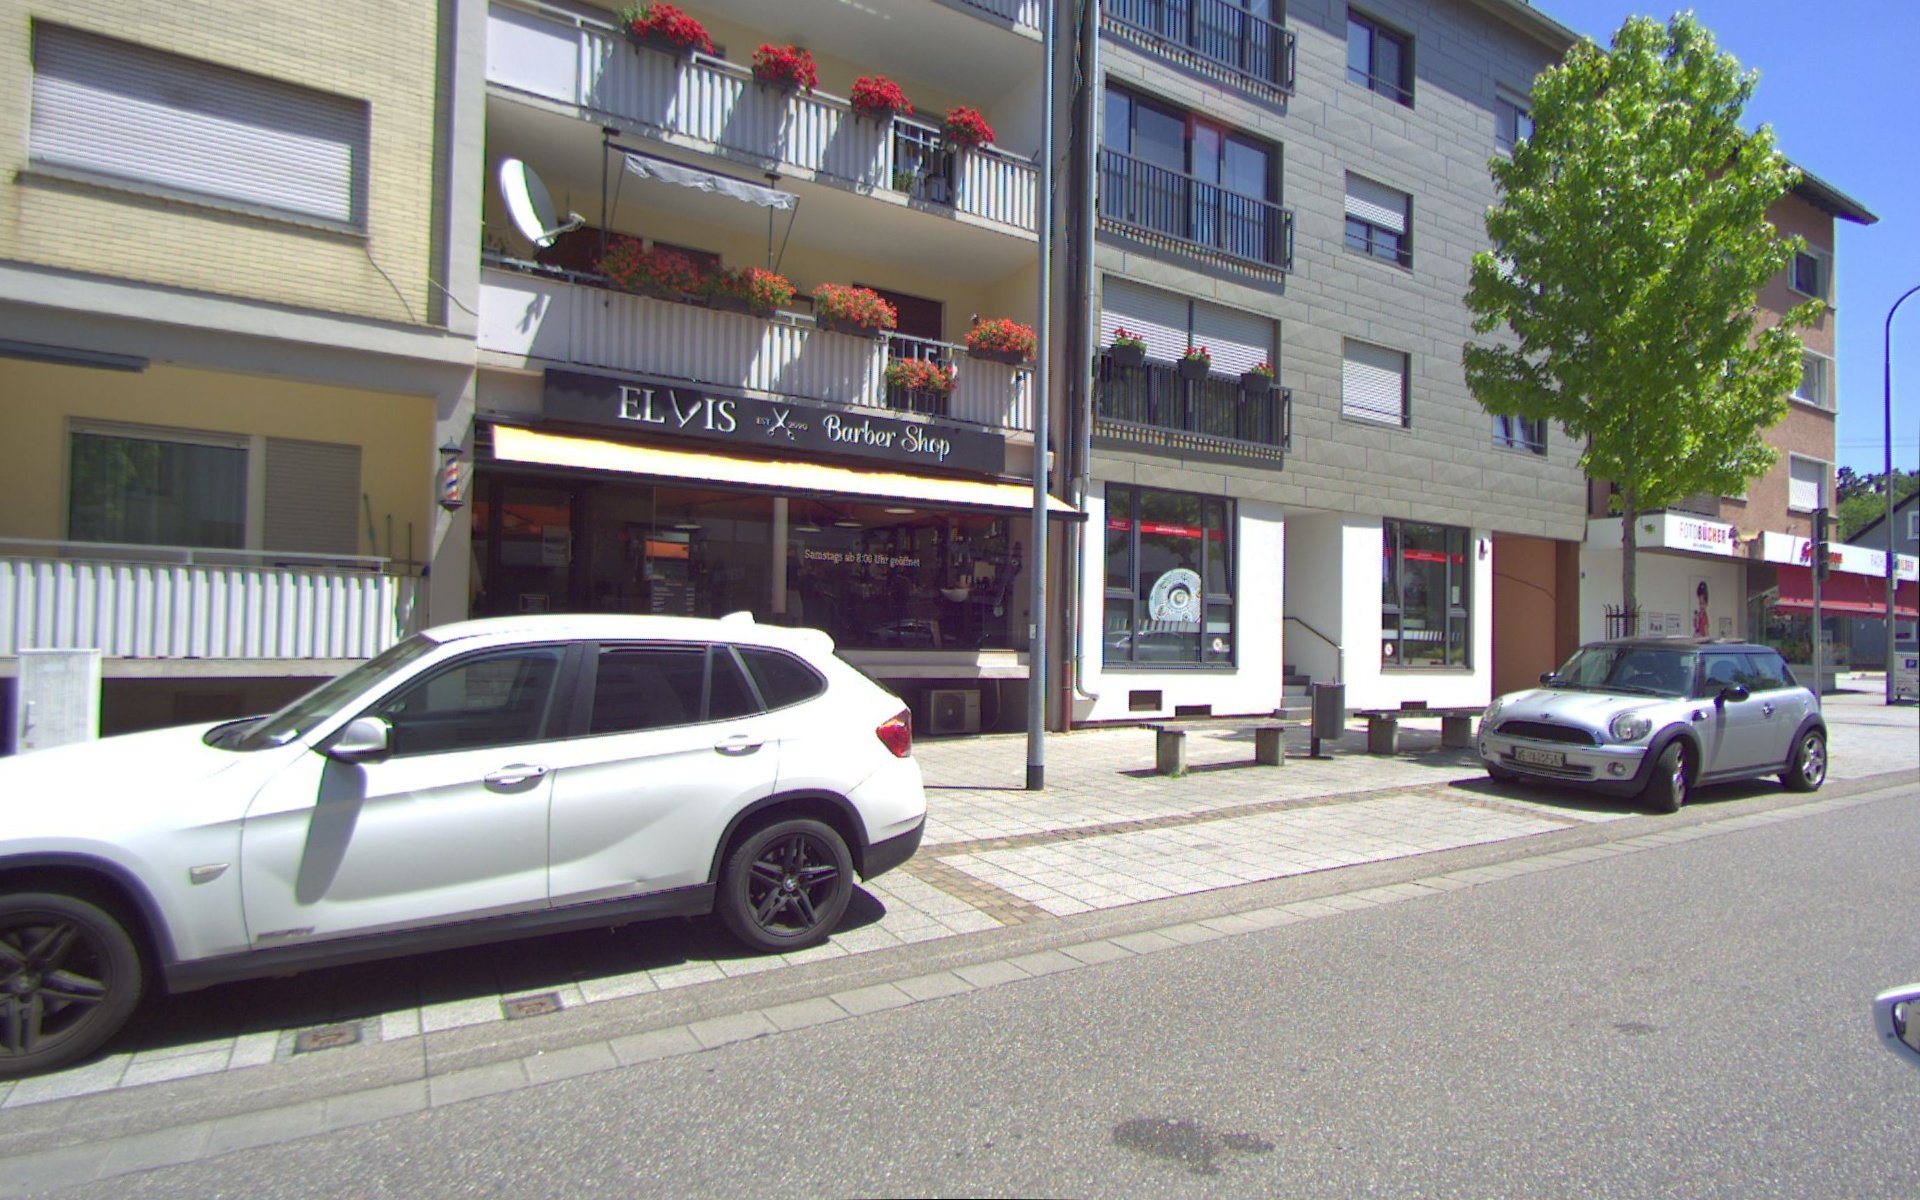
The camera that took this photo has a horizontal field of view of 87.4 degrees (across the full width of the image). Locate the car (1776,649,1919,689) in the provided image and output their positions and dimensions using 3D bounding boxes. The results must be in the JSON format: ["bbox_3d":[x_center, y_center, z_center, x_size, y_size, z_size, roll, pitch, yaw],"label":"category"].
[{"bbox_3d":[36.708,2.810,41.437,1.750,1.476,4.397,1,-2,-34],"label":"car"}]

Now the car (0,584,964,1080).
[{"bbox_3d":[-2.244,0.791,4.754,4.249,1.613,1.687,2,0,-30],"label":"car"}]

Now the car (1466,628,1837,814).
[{"bbox_3d":[6.696,1.039,9.685,3.506,1.493,1.614,2,-2,-30],"label":"car"}]
